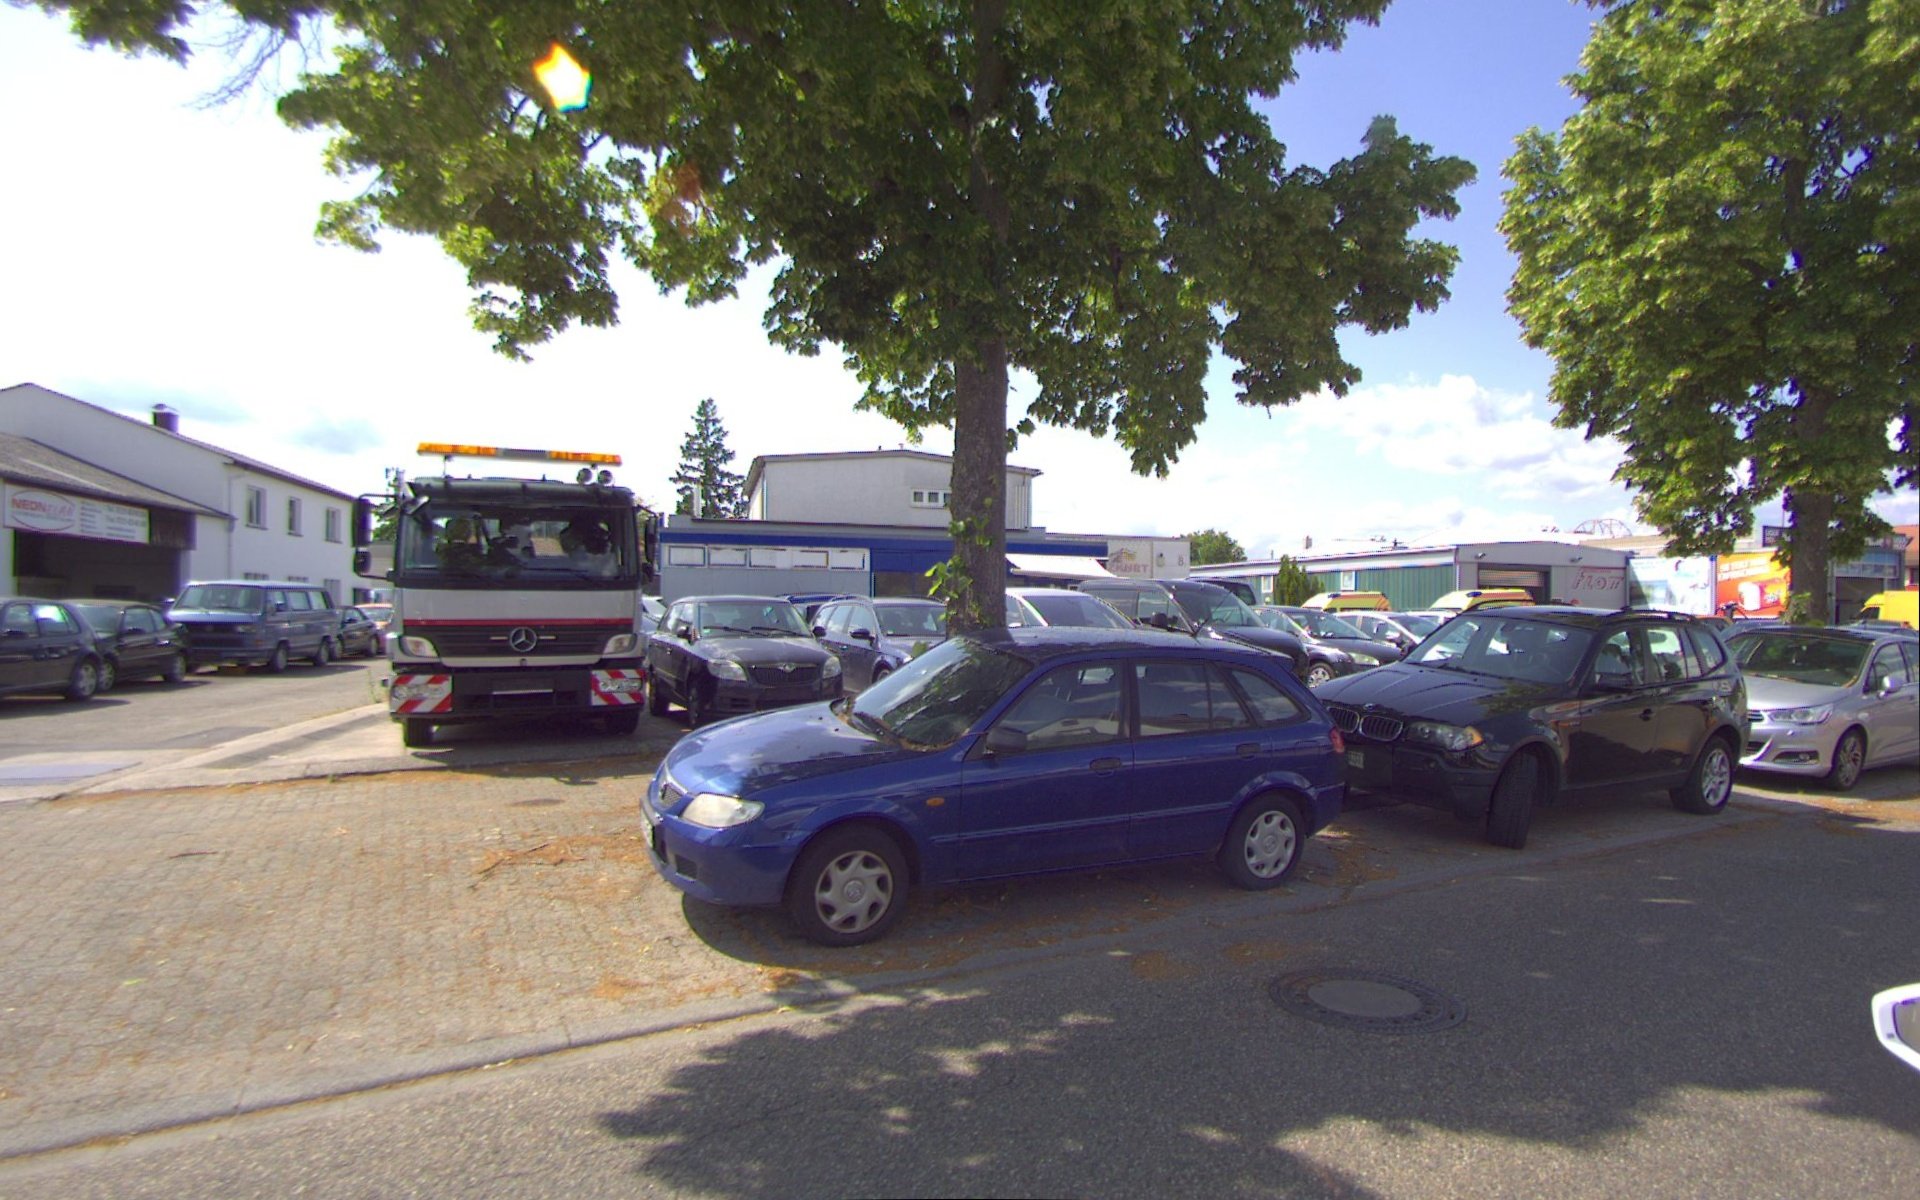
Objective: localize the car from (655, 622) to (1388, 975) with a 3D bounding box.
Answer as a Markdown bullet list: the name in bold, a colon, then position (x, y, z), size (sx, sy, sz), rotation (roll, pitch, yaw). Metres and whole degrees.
- **car**: position (0.417, 0.901, 6.031), size (4.103, 1.503, 1.694), rotation (1, 0, -26)

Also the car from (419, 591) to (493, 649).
- **car**: position (-19.698, 0.775, 39.386), size (1.822, 2.128, 3.902), rotation (2, -1, -16)

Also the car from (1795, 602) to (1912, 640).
- **car**: position (42.301, 0.987, 47.640), size (1.705, 1.754, 3.840), rotation (1, -1, -18)

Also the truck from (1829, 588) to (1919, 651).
- **truck**: position (45.469, 0.933, 47.323), size (2.487, 2.888, 6.597), rotation (1, -1, -16)

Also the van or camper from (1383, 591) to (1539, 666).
- **van or camper**: position (17.792, 0.965, 35.648), size (5.282, 2.508, 1.990), rotation (0, 0, -22)

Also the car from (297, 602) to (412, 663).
- **car**: position (-17.327, 0.906, 28.963), size (1.822, 1.608, 3.902), rotation (2, -1, -16)

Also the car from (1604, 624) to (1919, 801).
- **car**: position (9.260, 1.087, 11.056), size (4.183, 1.549, 1.826), rotation (1, 1, -28)

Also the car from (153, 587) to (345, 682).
- **car**: position (-15.210, 0.706, 21.824), size (1.967, 1.816, 4.480), rotation (2, -1, -16)

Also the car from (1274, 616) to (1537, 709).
- **car**: position (7.770, 1.034, 17.942), size (1.803, 1.449, 4.130), rotation (2, -2, -26)

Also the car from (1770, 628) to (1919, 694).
- **car**: position (21.735, 1.414, 24.319), size (4.528, 1.429, 1.746), rotation (1, -1, -29)

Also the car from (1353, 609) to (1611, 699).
- **car**: position (9.753, 0.966, 19.126), size (1.803, 1.509, 4.130), rotation (2, -2, -26)

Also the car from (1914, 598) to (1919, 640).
- **car**: position (43.550, 0.901, 42.714), size (1.827, 1.834, 3.924), rotation (1, 1, -19)

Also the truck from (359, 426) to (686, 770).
- **truck**: position (-5.738, 0.082, 13.244), size (2.683, 2.894, 9.233), rotation (0, -1, -24)

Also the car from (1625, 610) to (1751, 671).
- **car**: position (20.817, 1.134, 28.724), size (3.252, 1.677, 1.440), rotation (1, -1, -22)

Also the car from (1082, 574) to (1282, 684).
- **car**: position (4.563, 0.578, 20.490), size (3.956, 2.040, 1.701), rotation (1, -1, -32)

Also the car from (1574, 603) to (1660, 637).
- **car**: position (33.075, 0.999, 50.633), size (1.536, 1.613, 3.506), rotation (1, -1, -16)

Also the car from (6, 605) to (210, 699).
- **car**: position (-14.245, 0.836, 16.993), size (1.478, 1.424, 2.998), rotation (2, -1, -16)

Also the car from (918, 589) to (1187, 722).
- **car**: position (1.162, 0.715, 14.660), size (1.805, 1.636, 4.275), rotation (0, -1, -30)

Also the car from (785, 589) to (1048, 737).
- **car**: position (-0.791, 0.757, 13.330), size (1.803, 1.603, 4.510), rotation (0, -2, -27)

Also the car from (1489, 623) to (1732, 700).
- **car**: position (13.662, 1.231, 21.369), size (1.802, 1.392, 4.015), rotation (1, 0, -24)

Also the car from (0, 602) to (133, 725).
- **car**: position (-12.484, 0.735, 12.496), size (1.967, 1.424, 3.853), rotation (2, -1, -16)

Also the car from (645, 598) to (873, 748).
- **car**: position (-2.600, 0.784, 12.141), size (1.656, 1.478, 4.183), rotation (0, -2, -27)

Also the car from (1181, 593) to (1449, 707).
- **car**: position (5.713, 0.780, 16.712), size (1.803, 1.640, 4.130), rotation (2, -2, -26)

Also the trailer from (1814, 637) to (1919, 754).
- **trailer**: position (13.475, 1.233, 13.482), size (4.457, 1.307, 1.752), rotation (1, 2, -32)

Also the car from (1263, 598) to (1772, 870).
- **car**: position (4.721, 0.899, 8.352), size (4.348, 1.723, 1.685), rotation (1, 1, -30)

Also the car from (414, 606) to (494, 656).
- **car**: position (-17.463, 1.052, 34.831), size (1.717, 1.608, 3.902), rotation (2, -1, -16)

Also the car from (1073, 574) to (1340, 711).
- **car**: position (3.639, 0.622, 15.581), size (1.803, 1.812, 4.130), rotation (2, -2, -26)

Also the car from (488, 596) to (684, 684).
- **car**: position (-8.157, 0.852, 22.018), size (3.868, 1.780, 1.638), rotation (1, 0, -24)

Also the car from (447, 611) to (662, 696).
- **car**: position (-7.799, 0.994, 19.488), size (3.706, 1.499, 1.638), rotation (1, 0, -24)
